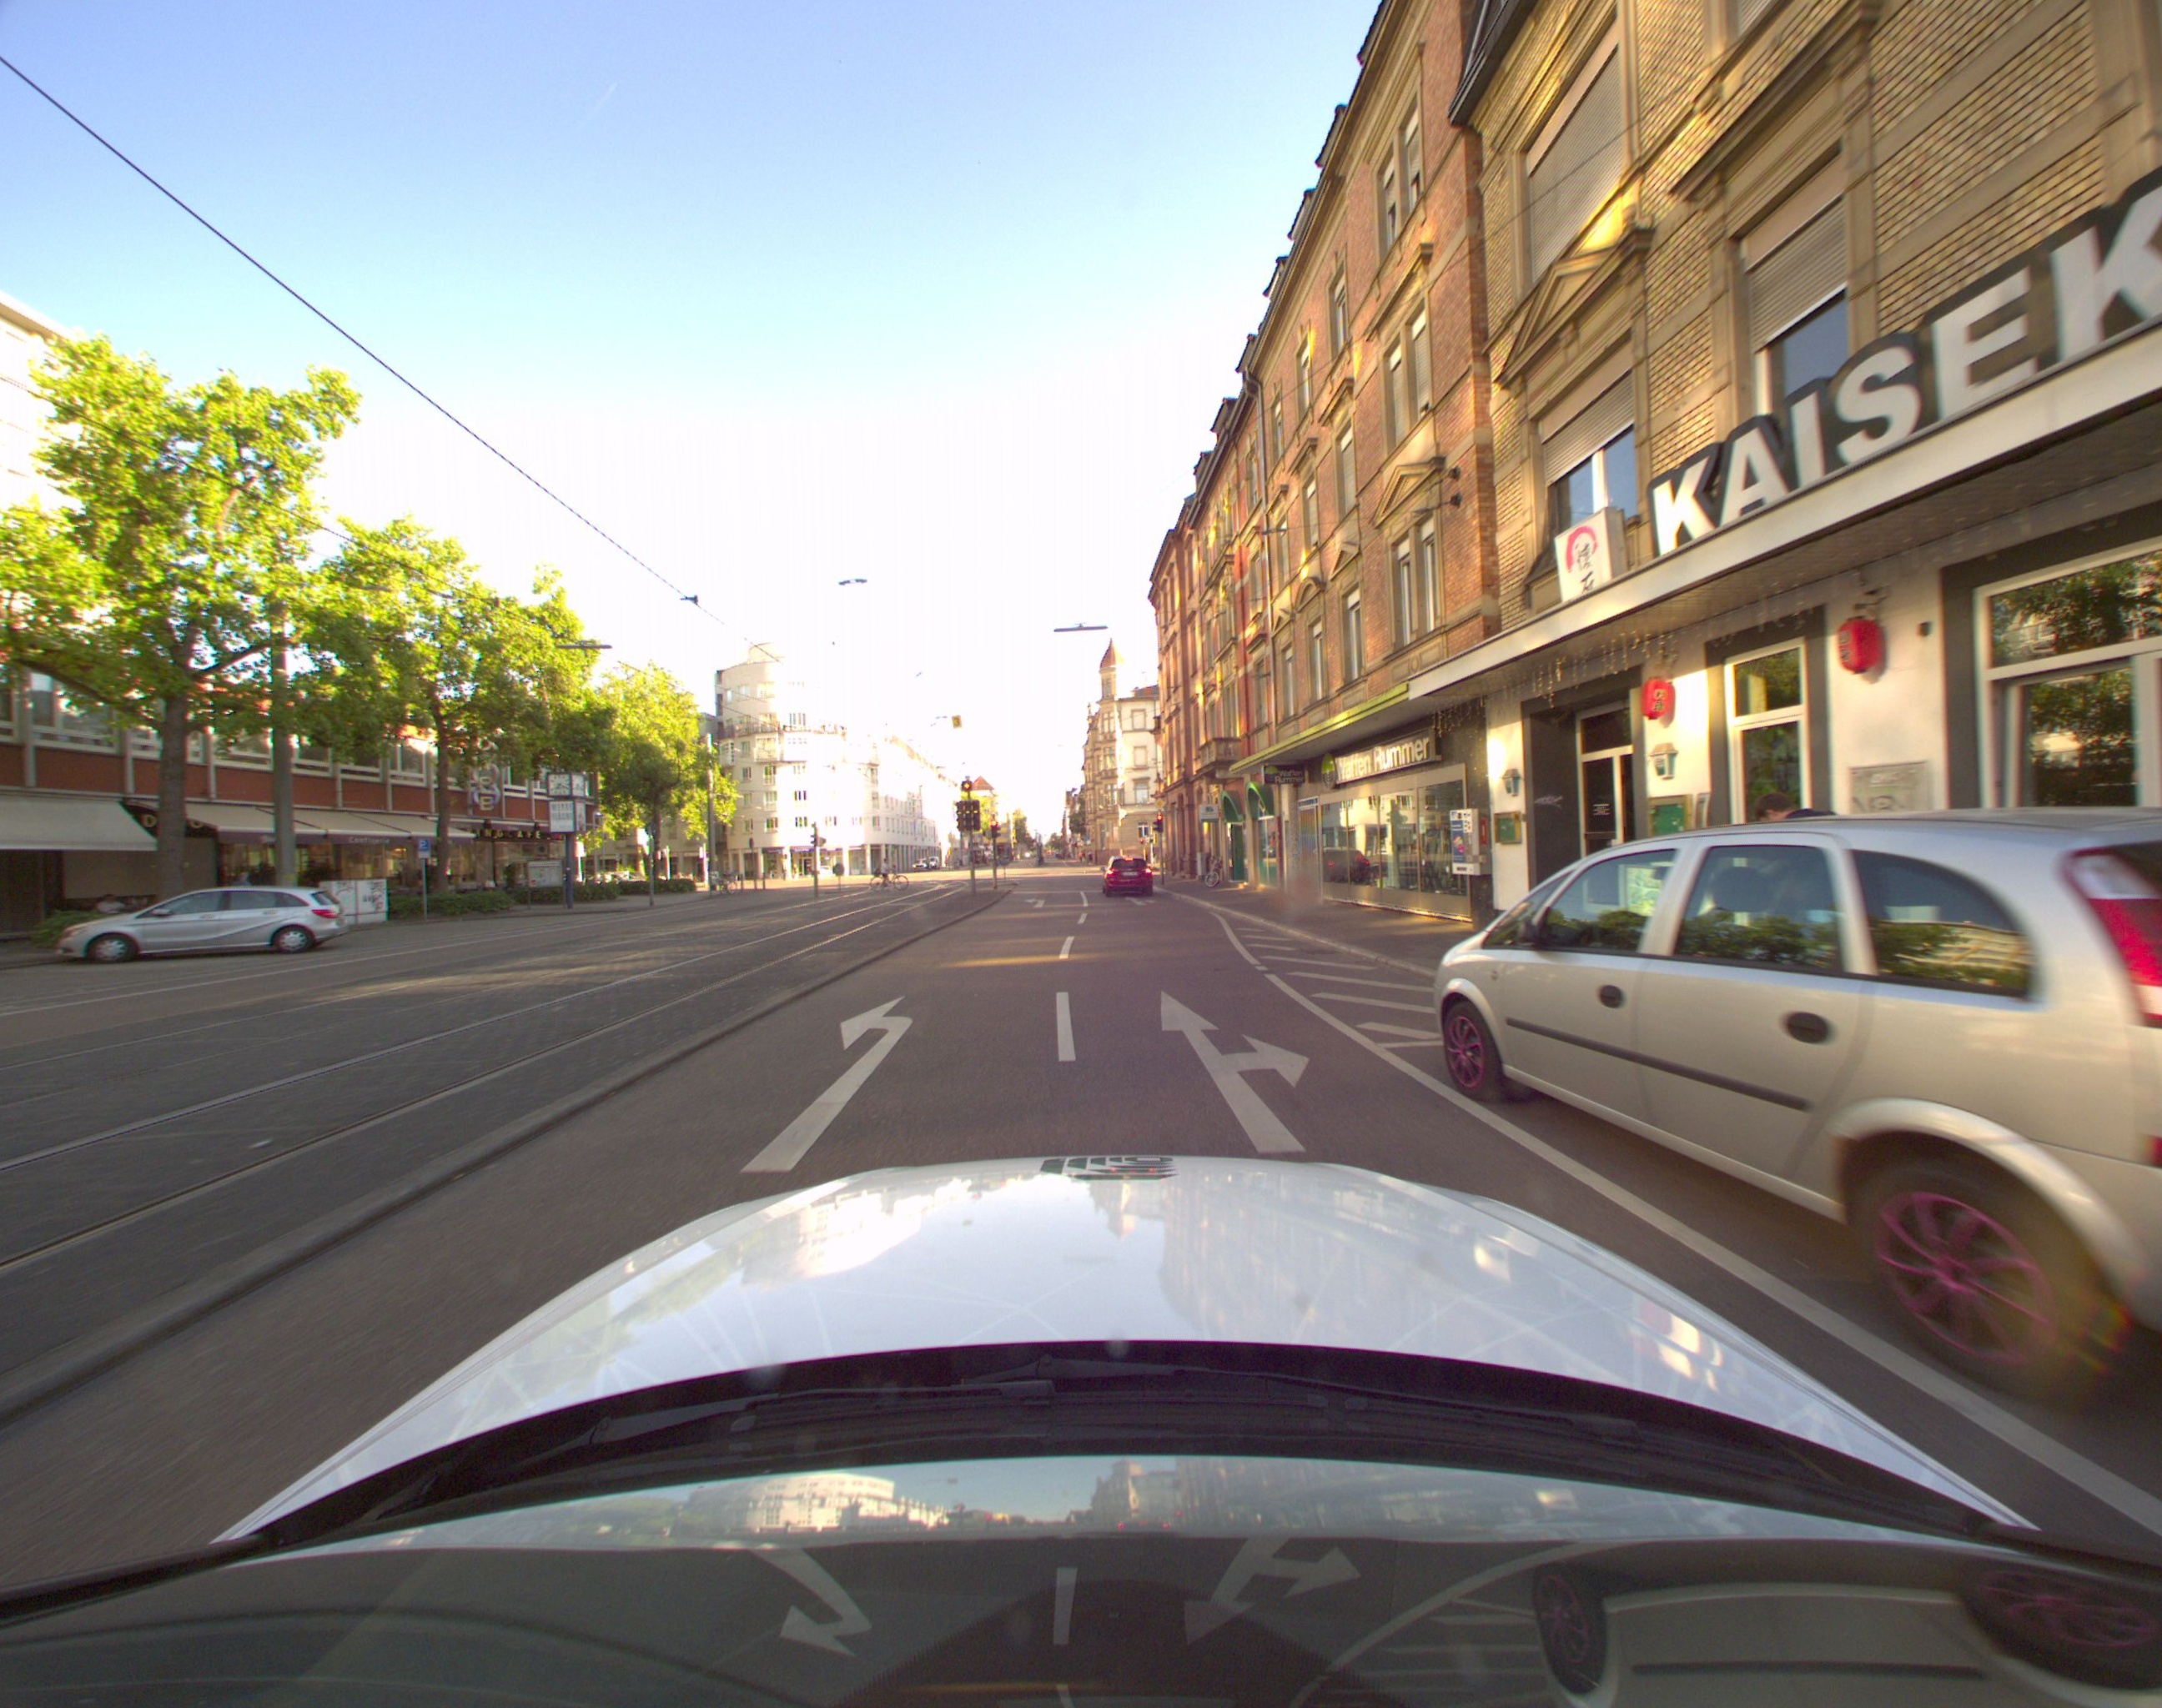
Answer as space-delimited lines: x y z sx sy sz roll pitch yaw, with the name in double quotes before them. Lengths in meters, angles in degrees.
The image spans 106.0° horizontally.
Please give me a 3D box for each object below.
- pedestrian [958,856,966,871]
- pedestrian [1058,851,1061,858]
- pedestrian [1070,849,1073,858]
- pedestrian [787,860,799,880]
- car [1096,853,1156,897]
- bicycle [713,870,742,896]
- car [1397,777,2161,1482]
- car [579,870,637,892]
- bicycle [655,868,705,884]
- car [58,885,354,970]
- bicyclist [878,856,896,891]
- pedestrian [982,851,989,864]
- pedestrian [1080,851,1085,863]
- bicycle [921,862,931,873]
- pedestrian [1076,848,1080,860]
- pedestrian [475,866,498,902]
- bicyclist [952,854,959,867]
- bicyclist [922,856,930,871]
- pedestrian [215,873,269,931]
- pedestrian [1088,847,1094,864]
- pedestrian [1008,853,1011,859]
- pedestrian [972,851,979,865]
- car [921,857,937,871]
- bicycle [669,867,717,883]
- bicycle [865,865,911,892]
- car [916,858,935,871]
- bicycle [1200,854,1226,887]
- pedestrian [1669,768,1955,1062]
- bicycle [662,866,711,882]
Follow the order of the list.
"pedestrian" -14.248 1.122 97.242 0.766 1.730 0.572 -2 0 0
"pedestrian" -6.001 0.088 228.376 0.575 1.887 0.669 -2 0 -2
"pedestrian" -2.211 -0.128 188.223 0.575 2.013 0.630 -2 0 -2
"pedestrian" -29.523 1.613 83.406 0.950 2.013 0.931 -2 0 -30
"car" 1.594 0.728 30.229 1.750 1.466 3.940 -1 0 -4
"bicycle" -18.725 1.532 43.209 0.668 1.327 1.906 0 0 1
"car" 3.156 0.613 3.759 1.634 1.615 3.940 -2 0 -4
"car" -39.704 2.261 68.371 3.979 1.559 1.635 -3 0 10
"bicycle" -42.821 2.346 87.007 4.686 1.530 1.067 -3 0 1
"car" -19.677 1.575 18.649 4.297 1.566 1.808 -1 -1 -34
"bicyclist" -9.123 0.917 38.275 0.729 1.627 0.763 -2 -1 -9
"pedestrian" -14.933 0.552 127.385 1.043 2.013 0.957 -2 0 -4
"pedestrian" 0.202 0.458 132.483 0.644 2.013 0.683 -2 0 -2
"bicycle" -18.228 1.588 95.782 0.805 1.147 2.048 -3 0 -2
"pedestrian" -0.618 -0.012 145.879 0.574 2.013 0.631 -2 0 4
"pedestrian" -29.126 1.447 39.925 0.642 1.722 0.602 -1 1 17
"bicyclist" -18.723 0.969 121.607 0.805 1.821 0.993 -3 0 -2
"bicyclist" -18.253 1.143 95.990 0.805 1.726 0.794 -3 0 -2
"pedestrian" -26.092 1.484 25.340 0.702 1.722 0.874 -1 1 -3
"pedestrian" 1.250 0.194 101.027 0.650 2.013 0.759 -2 0 -3
"pedestrian" -19.428 0.439 221.109 0.630 1.604 0.575 -2 0 -19
"pedestrian" -16.133 0.575 124.709 0.953 2.013 1.048 -3 0 -2
"car" -20.731 1.319 111.148 1.697 1.718 3.561 -3 0 -2
"bicycle" -42.716 2.343 89.698 4.686 1.530 1.067 -3 0 1
"bicycle" -9.155 1.154 38.694 2.018 1.177 0.626 -2 -1 -10
"car" -19.883 1.319 104.192 1.760 1.546 3.459 -3 0 -1
"bicycle" 5.134 0.622 31.649 0.710 1.152 1.662 -4 0 16
"pedestrian" 4.991 0.376 5.660 0.944 1.792 1.054 -3 0 -3
"bicycle" -42.688 2.190 88.147 4.686 1.530 1.067 -3 0 1
